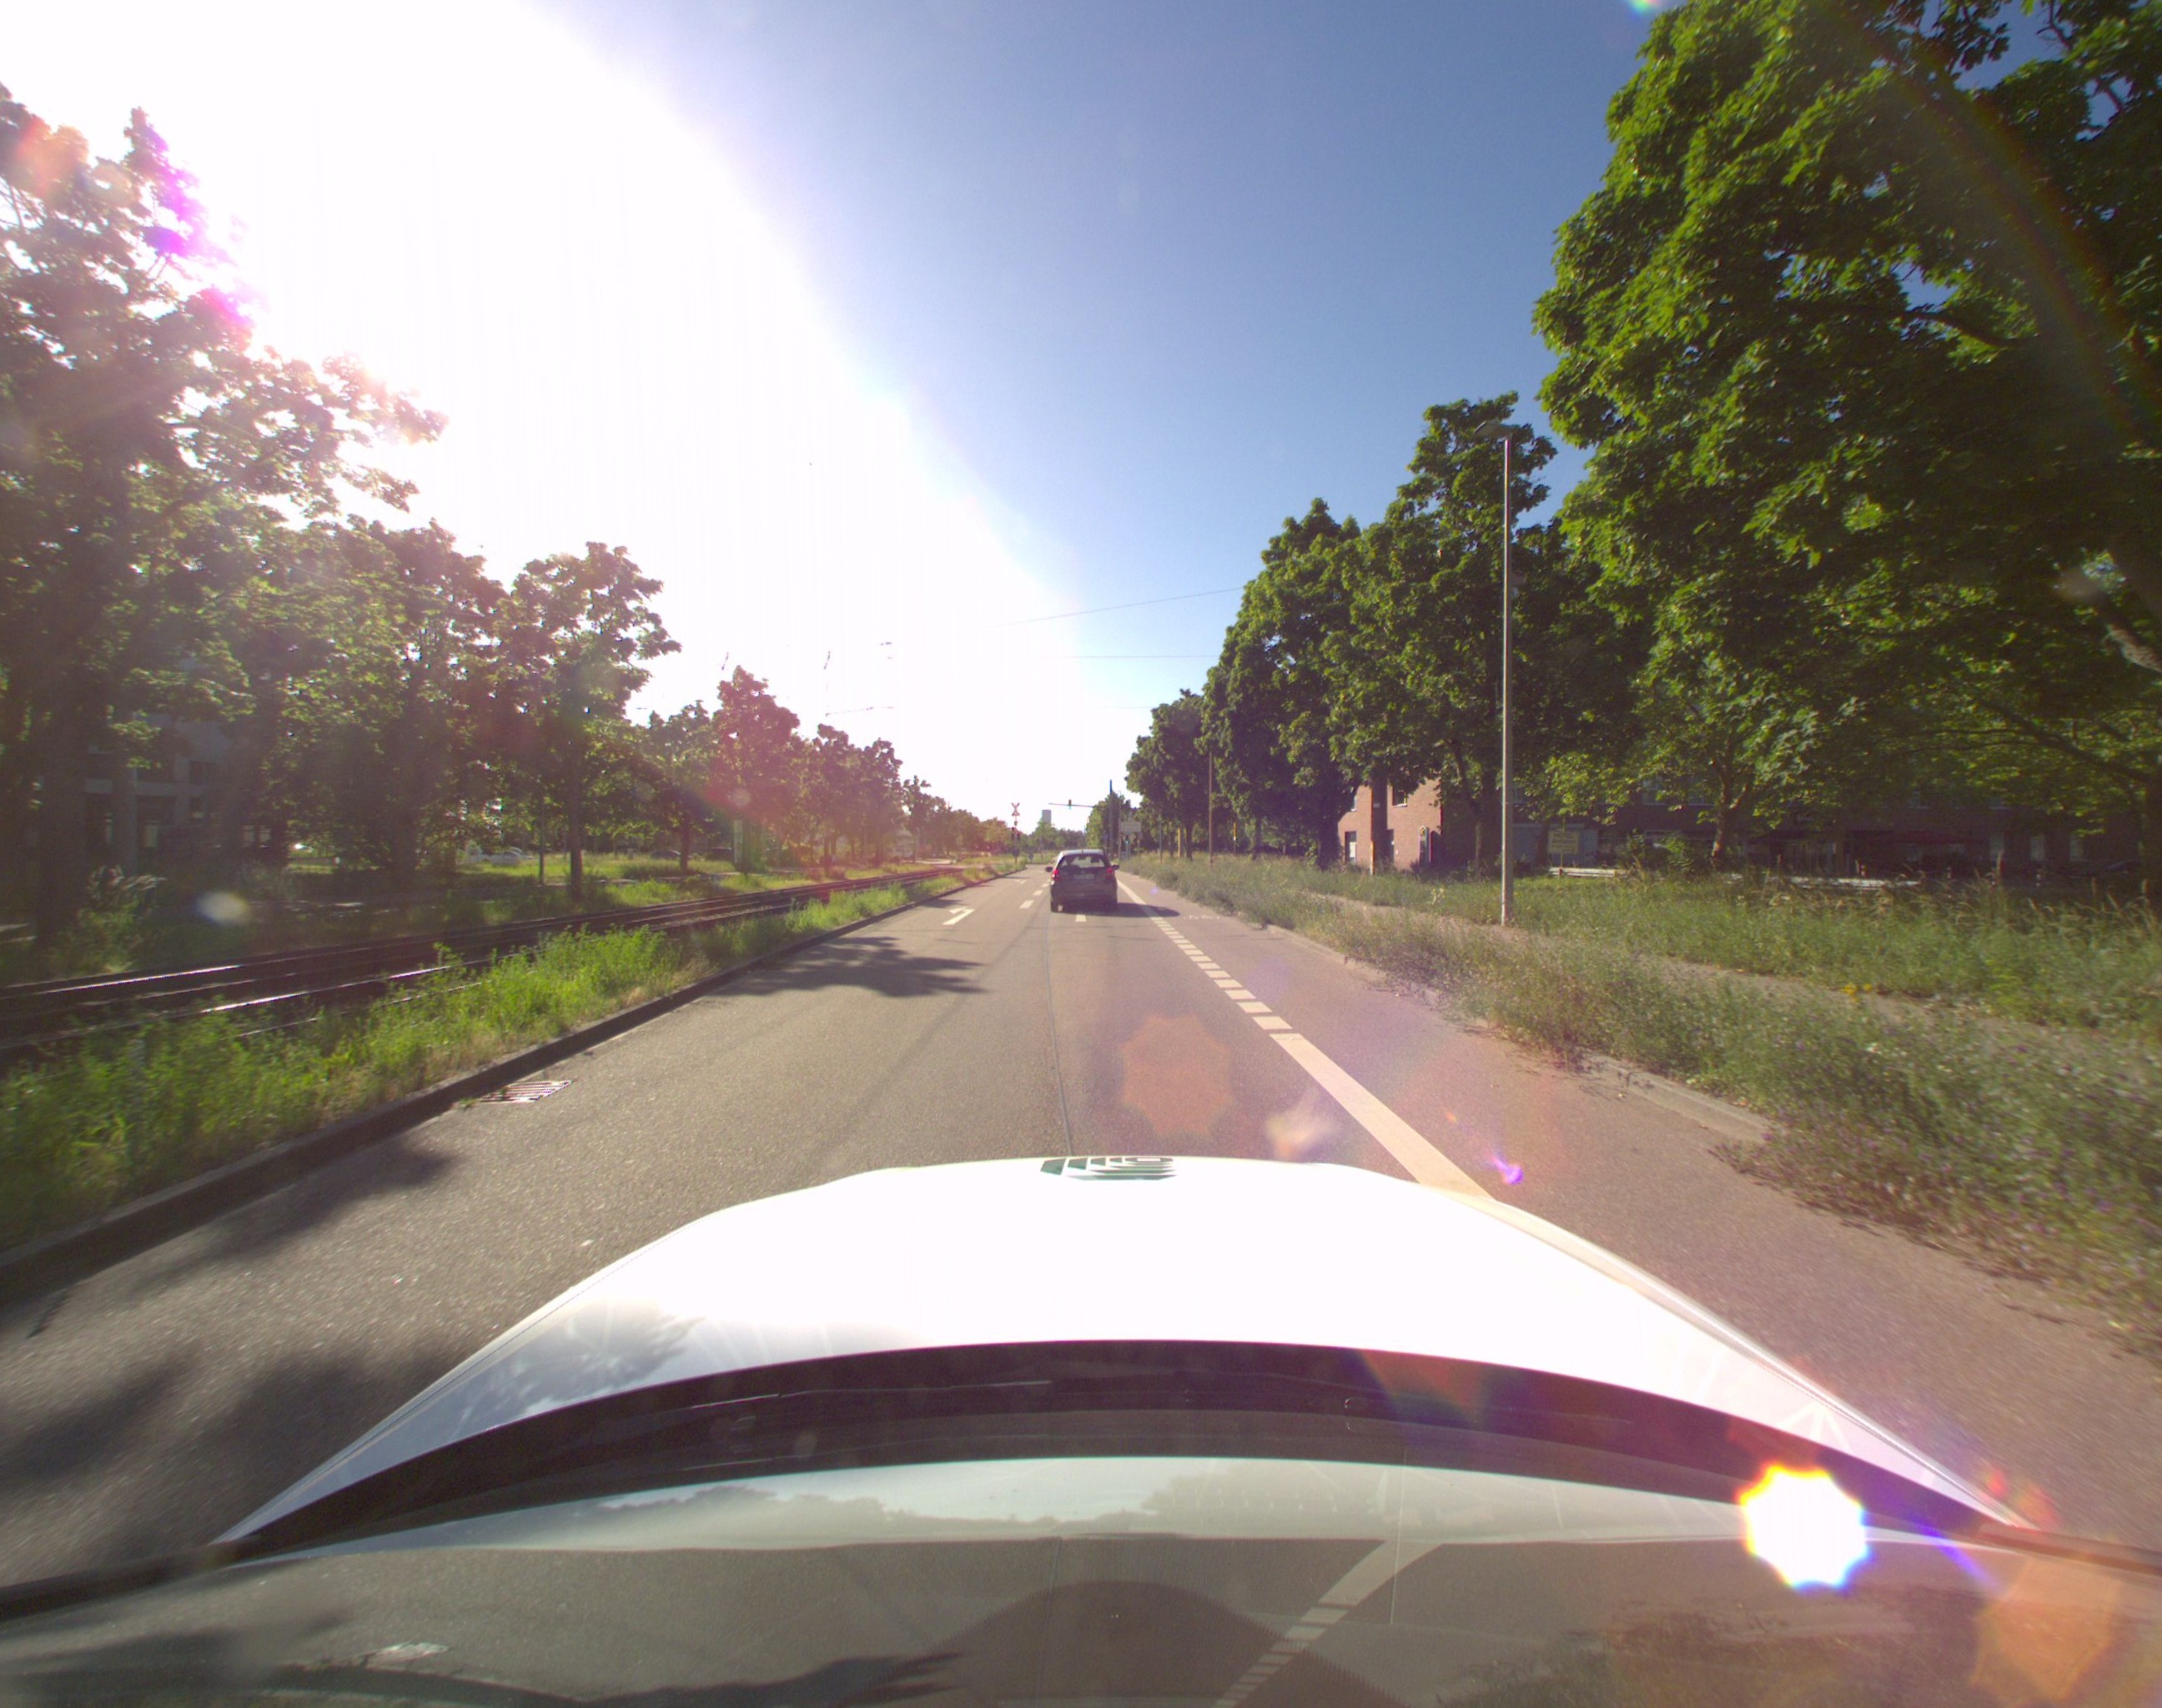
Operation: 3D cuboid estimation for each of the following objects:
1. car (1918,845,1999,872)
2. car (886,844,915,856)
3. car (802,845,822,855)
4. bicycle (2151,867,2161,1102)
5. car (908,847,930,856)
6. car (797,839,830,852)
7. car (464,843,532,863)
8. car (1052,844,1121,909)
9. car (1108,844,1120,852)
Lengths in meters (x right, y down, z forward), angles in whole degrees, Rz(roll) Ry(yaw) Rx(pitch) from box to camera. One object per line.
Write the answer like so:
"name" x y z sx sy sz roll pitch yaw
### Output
"car" 60.538 0.311 56.209 3.983 1.828 1.868 0 0 -8
"car" -31.457 -0.719 141.697 1.837 1.974 4.817 0 1 39
"car" -42.597 -0.639 129.094 1.571 1.544 4.091 0 0 2
"bicycle" 5.735 0.671 3.135 0.481 1.204 2.145 0 0 2
"car" -31.517 -0.515 158.391 4.062 1.568 1.790 0 0 -4
"car" -44.830 -1.395 136.499 4.710 2.091 2.019 0 0 -3
"car" -50.677 -0.087 70.886 4.436 1.640 1.975 0 0 -23
"car" 0.088 0.531 21.249 1.620 1.499 3.454 -1 0 -2
"car" 6.165 -1.123 152.001 1.771 1.386 3.864 -1 0 -4
